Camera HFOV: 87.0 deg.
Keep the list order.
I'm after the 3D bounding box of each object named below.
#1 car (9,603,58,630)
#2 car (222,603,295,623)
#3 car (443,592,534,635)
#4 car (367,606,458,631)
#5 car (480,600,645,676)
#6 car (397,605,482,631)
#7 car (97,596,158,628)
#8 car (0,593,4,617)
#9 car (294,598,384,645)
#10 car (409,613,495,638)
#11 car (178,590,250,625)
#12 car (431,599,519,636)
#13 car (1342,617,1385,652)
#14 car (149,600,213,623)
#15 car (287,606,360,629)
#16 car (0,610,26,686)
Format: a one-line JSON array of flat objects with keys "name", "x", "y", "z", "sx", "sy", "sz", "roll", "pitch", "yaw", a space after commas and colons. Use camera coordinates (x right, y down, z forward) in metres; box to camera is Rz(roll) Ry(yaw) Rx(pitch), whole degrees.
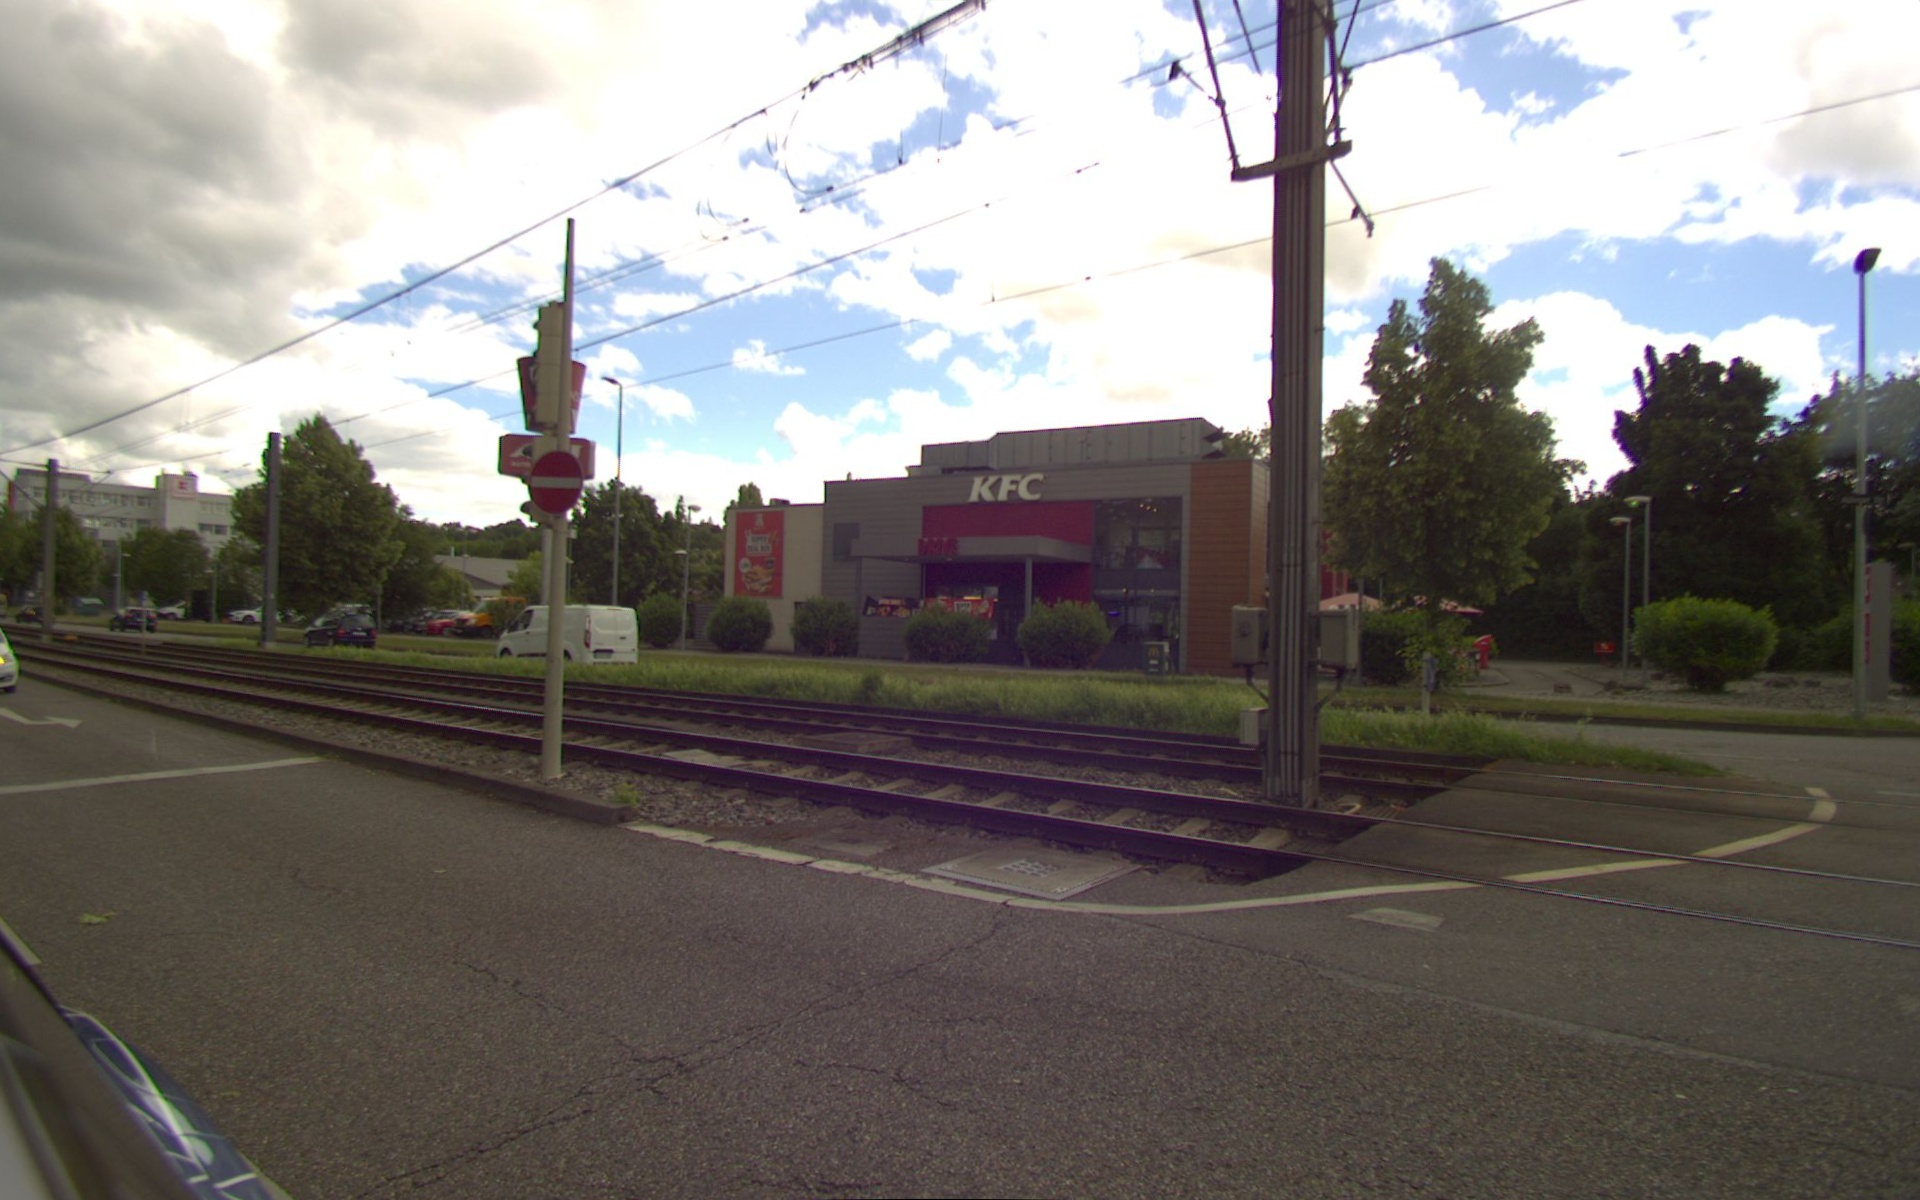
[{"name": "car", "x": -74.111, "y": 1.309, "z": 80.929, "sx": 3.991, "sy": 2.029, "sz": 1.976, "roll": 0, "pitch": -3, "yaw": 35}, {"name": "car", "x": -55.616, "y": 1.004, "z": 80.338, "sx": 1.792, "sy": 1.518, "sz": 4.430, "roll": 0, "pitch": 1, "yaw": 36}, {"name": "car", "x": -25.281, "y": 0.676, "z": 54.360, "sx": 2.056, "sy": 2.182, "sz": 3.948, "roll": 0, "pitch": 1, "yaw": 39}, {"name": "car", "x": -33.151, "y": 1.107, "z": 61.365, "sx": 2.193, "sy": 1.364, "sz": 4.331, "roll": 0, "pitch": 1, "yaw": 39}, {"name": "car", "x": -11.530, "y": 1.044, "z": 29.254, "sx": 4.872, "sy": 2.029, "sz": 1.977, "roll": 0, "pitch": -2, "yaw": 34}, {"name": "car", "x": -30.808, "y": 1.040, "z": 59.972, "sx": 2.091, "sy": 1.377, "sz": 3.948, "roll": 0, "pitch": 1, "yaw": 39}, {"name": "car", "x": -54.173, "y": 0.791, "z": 65.809, "sx": 4.238, "sy": 2.029, "sz": 1.976, "roll": 0, "pitch": -2, "yaw": 35}, {"name": "car", "x": -102.136, "y": 0.459, "z": 106.103, "sx": 5.992, "sy": 2.518, "sz": 1.851, "roll": 0, "pitch": -3, "yaw": 39}, {"name": "car", "x": -27.861, "y": 0.952, "z": 45.380, "sx": 4.098, "sy": 2.029, "sz": 1.976, "roll": 0, "pitch": -2, "yaw": 35}, {"name": "car", "x": -29.073, "y": 1.440, "z": 57.946, "sx": 1.998, "sy": 1.245, "sz": 3.948, "roll": 0, "pitch": 1, "yaw": 39}, {"name": "car", "x": -63.251, "y": 0.641, "z": 85.840, "sx": 2.286, "sy": 2.769, "sz": 4.425, "roll": 0, "pitch": -2, "yaw": 39}, {"name": "car", "x": -26.976, "y": 0.927, "z": 56.381, "sx": 1.998, "sy": 1.932, "sz": 3.948, "roll": 0, "pitch": 1, "yaw": 39}, {"name": "car", "x": 24.267, "y": 2.063, "z": 60.749, "sx": 1.991, "sy": 2.029, "sz": 3.962, "roll": 0, "pitch": -2, "yaw": 28}, {"name": "car", "x": -70.527, "y": 1.031, "z": 91.627, "sx": 2.000, "sy": 1.933, "sz": 4.299, "roll": 0, "pitch": 1, "yaw": 42}, {"name": "car", "x": -44.507, "y": 1.200, "z": 70.812, "sx": 2.000, "sy": 1.518, "sz": 3.948, "roll": 0, "pitch": 1, "yaw": 39}, {"name": "car", "x": -20.409, "y": 0.942, "z": 20.331, "sx": 3.994, "sy": 1.455, "sz": 1.765, "roll": 0, "pitch": 1, "yaw": 38}]
